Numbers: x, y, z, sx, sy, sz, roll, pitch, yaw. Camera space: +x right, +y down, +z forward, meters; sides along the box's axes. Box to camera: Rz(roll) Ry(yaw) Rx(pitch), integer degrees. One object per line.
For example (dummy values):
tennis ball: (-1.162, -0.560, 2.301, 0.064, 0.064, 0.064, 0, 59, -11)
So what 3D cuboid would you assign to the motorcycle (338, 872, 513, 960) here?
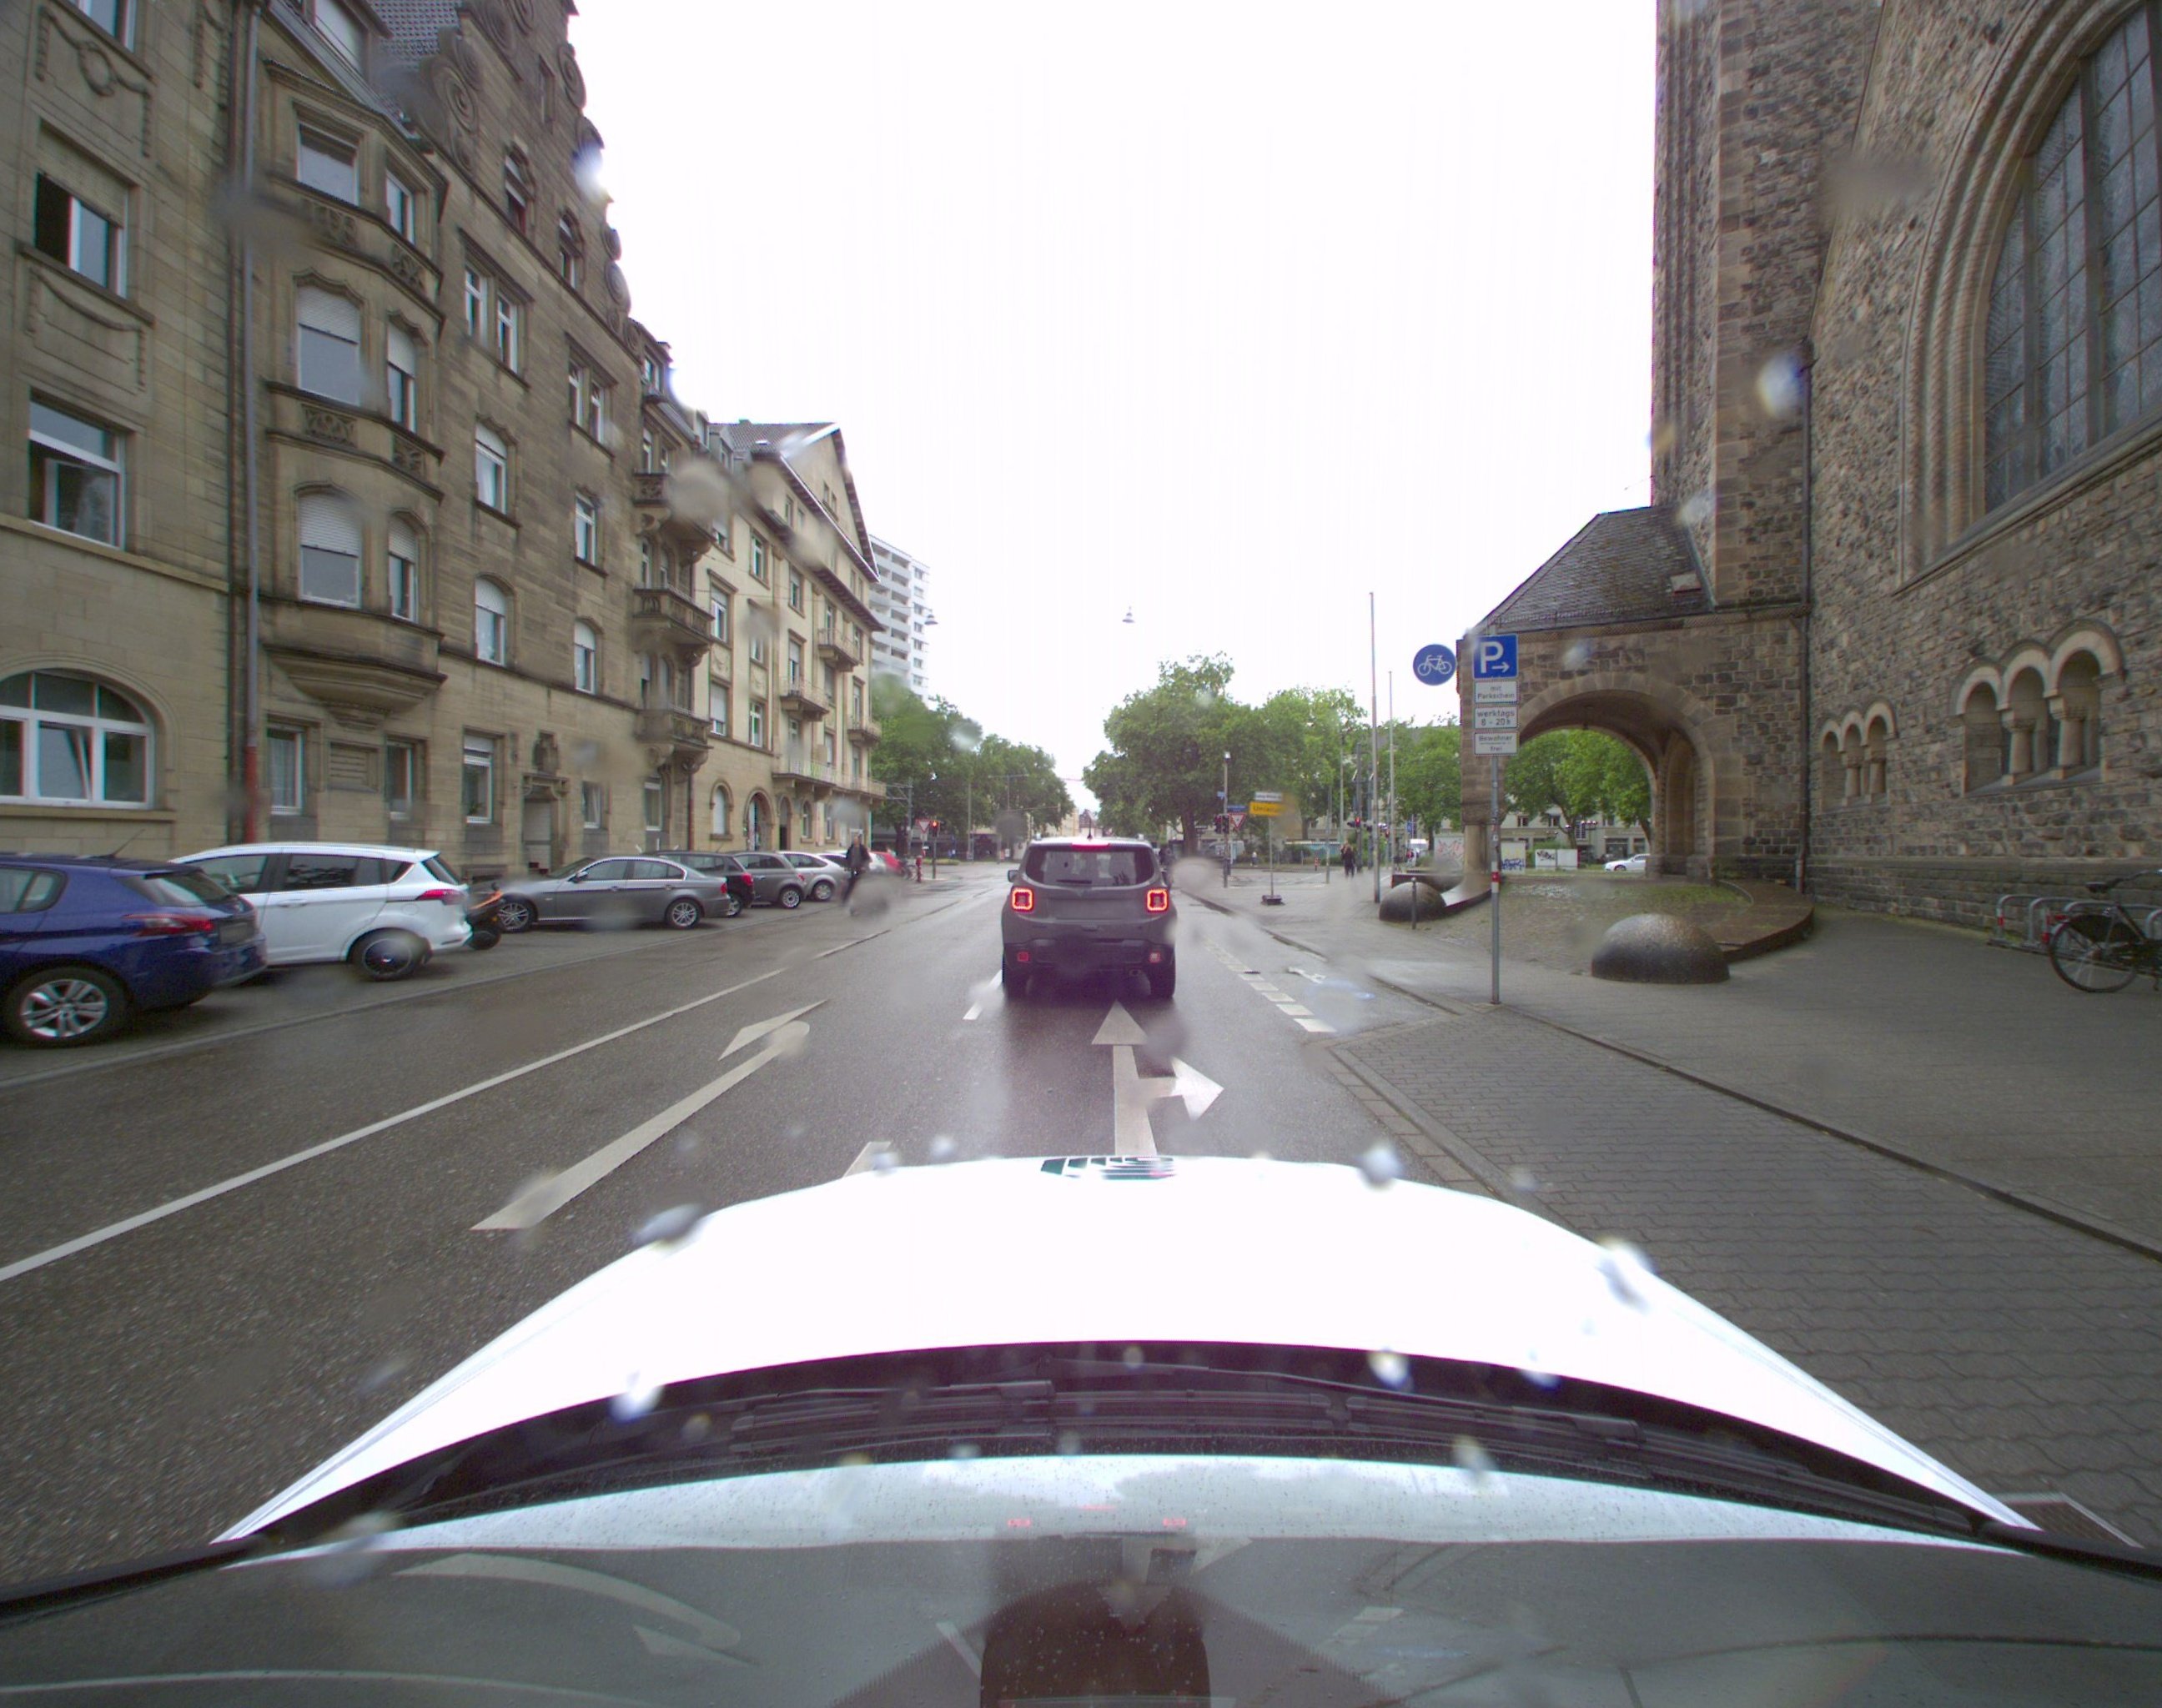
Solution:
motorcycle: (-9.311, 0.861, 11.677, 1.880, 1.161, 0.627, 2, -1, -35)

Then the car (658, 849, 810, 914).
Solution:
car: (-9.168, 0.665, 21.593, 3.419, 1.558, 1.634, -1, 0, -37)

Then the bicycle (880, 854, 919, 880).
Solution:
bicycle: (-9.019, 0.638, 40.515, 1.757, 1.266, 0.608, -1, 0, 0)

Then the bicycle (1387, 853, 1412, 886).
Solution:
bicycle: (11.506, 0.534, 29.477, 0.327, 1.154, 2.079, -1, 0, 7)

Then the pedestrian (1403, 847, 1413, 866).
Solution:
pedestrian: (27.788, 0.229, 69.228, 0.667, 1.554, 0.766, 0, -1, 30)

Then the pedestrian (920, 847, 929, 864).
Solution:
pedestrian: (-17.042, 0.194, 88.856, 0.686, 1.826, 0.623, -1, 0, 18)

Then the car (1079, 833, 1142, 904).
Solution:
car: (0.906, 0.395, 24.963, 1.763, 2.013, 4.002, 0, 0, 2)

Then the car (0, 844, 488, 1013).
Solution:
car: (-9.364, 0.690, 9.334, 4.064, 1.555, 1.778, -1, 0, -39)

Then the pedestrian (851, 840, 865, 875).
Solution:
pedestrian: (-12.673, 0.203, 46.339, 0.565, 2.013, 0.655, 0, 0, 2)

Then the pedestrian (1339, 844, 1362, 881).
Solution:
pedestrian: (12.381, 0.390, 37.444, 0.775, 1.645, 0.659, -1, 0, 39)

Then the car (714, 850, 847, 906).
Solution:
car: (-9.036, 0.659, 24.585, 3.419, 1.558, 1.687, -1, 0, -37)

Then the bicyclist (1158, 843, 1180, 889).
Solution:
bicyclist: (3.160, 0.421, 29.401, 0.684, 1.617, 0.884, -1, 0, 1)

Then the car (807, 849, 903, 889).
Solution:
car: (-9.309, 0.573, 33.629, 3.419, 1.558, 1.687, -1, 0, -37)

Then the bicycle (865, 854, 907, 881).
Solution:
bicycle: (-9.072, 0.620, 37.923, 1.804, 1.266, 0.498, -1, 0, 0)

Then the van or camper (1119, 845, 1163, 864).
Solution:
van or camper: (9.506, 0.077, 129.824, 6.465, 2.912, 2.510, 0, 0, 28)

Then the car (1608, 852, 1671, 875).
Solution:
car: (38.281, 0.652, 55.884, 3.404, 1.552, 1.603, 0, 0, 27)

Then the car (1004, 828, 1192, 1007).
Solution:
car: (0.209, 0.597, 9.745, 1.768, 1.687, 3.849, -1, 0, 1)

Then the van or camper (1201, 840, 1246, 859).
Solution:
van or camper: (17.349, -0.542, 99.410, 5.233, 2.315, 2.093, 0, 1, 5)

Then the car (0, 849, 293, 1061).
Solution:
car: (-9.324, 0.773, 6.446, 4.053, 1.573, 1.783, -1, 0, -28)

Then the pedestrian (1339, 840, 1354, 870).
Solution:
pedestrian: (15.615, 0.053, 47.870, 0.779, 1.759, 0.949, -1, 0, 17)

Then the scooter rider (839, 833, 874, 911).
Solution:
scooter rider: (-5.669, 0.447, 20.612, 0.708, 1.935, 0.503, -1, 0, -1)

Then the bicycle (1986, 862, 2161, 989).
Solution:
bicycle: (9.959, 0.649, 7.590, 1.970, 1.105, 0.694, -2, -1, 13)

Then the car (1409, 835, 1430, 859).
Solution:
car: (36.523, -0.743, 87.791, 1.889, 2.555, 4.815, 0, 0, 26)

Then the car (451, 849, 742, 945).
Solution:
car: (-9.148, 0.704, 15.625, 4.572, 1.545, 1.669, -1, 0, -41)

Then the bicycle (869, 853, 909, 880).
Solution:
bicycle: (-9.347, 0.602, 39.647, 1.757, 1.266, 0.608, -1, 0, 0)

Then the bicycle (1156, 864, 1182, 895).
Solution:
bicycle: (3.178, 0.889, 29.458, 0.689, 1.021, 2.658, -1, 0, 1)

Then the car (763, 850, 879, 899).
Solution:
car: (-8.853, 0.659, 27.804, 3.419, 1.558, 1.687, -1, 0, -37)

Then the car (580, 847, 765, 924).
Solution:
car: (-9.279, 0.637, 18.606, 3.570, 1.598, 1.588, -1, 0, -37)

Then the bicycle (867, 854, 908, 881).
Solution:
bicycle: (-9.176, 0.624, 38.610, 1.804, 1.266, 0.498, -1, 0, 0)

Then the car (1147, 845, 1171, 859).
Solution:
car: (11.888, -0.291, 124.363, 3.410, 2.014, 1.554, -1, 0, 15)

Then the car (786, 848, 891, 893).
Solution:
car: (-9.070, 0.569, 30.533, 3.419, 1.558, 1.687, -1, 0, -37)

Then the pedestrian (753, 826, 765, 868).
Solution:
pedestrian: (-13.876, -0.293, 35.090, 0.365, 1.822, 0.347, -1, -1, 0)

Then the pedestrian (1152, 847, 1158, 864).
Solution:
pedestrian: (8.850, 0.141, 97.964, 0.646, 2.013, 0.484, 0, 0, 14)

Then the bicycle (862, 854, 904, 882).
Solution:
bicycle: (-9.075, 0.632, 37.375, 1.757, 1.266, 0.522, -1, 0, 0)

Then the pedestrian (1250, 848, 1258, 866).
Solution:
pedestrian: (15.559, 0.281, 73.363, 0.607, 1.603, 0.497, 0, 0, 26)

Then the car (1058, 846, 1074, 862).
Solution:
car: (-1.702, -0.047, 90.288, 1.717, 1.739, 3.727, 0, 0, -2)

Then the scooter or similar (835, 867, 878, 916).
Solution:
scooter or similar: (-5.658, 0.930, 20.611, 0.698, 1.165, 1.385, -1, 0, 0)
